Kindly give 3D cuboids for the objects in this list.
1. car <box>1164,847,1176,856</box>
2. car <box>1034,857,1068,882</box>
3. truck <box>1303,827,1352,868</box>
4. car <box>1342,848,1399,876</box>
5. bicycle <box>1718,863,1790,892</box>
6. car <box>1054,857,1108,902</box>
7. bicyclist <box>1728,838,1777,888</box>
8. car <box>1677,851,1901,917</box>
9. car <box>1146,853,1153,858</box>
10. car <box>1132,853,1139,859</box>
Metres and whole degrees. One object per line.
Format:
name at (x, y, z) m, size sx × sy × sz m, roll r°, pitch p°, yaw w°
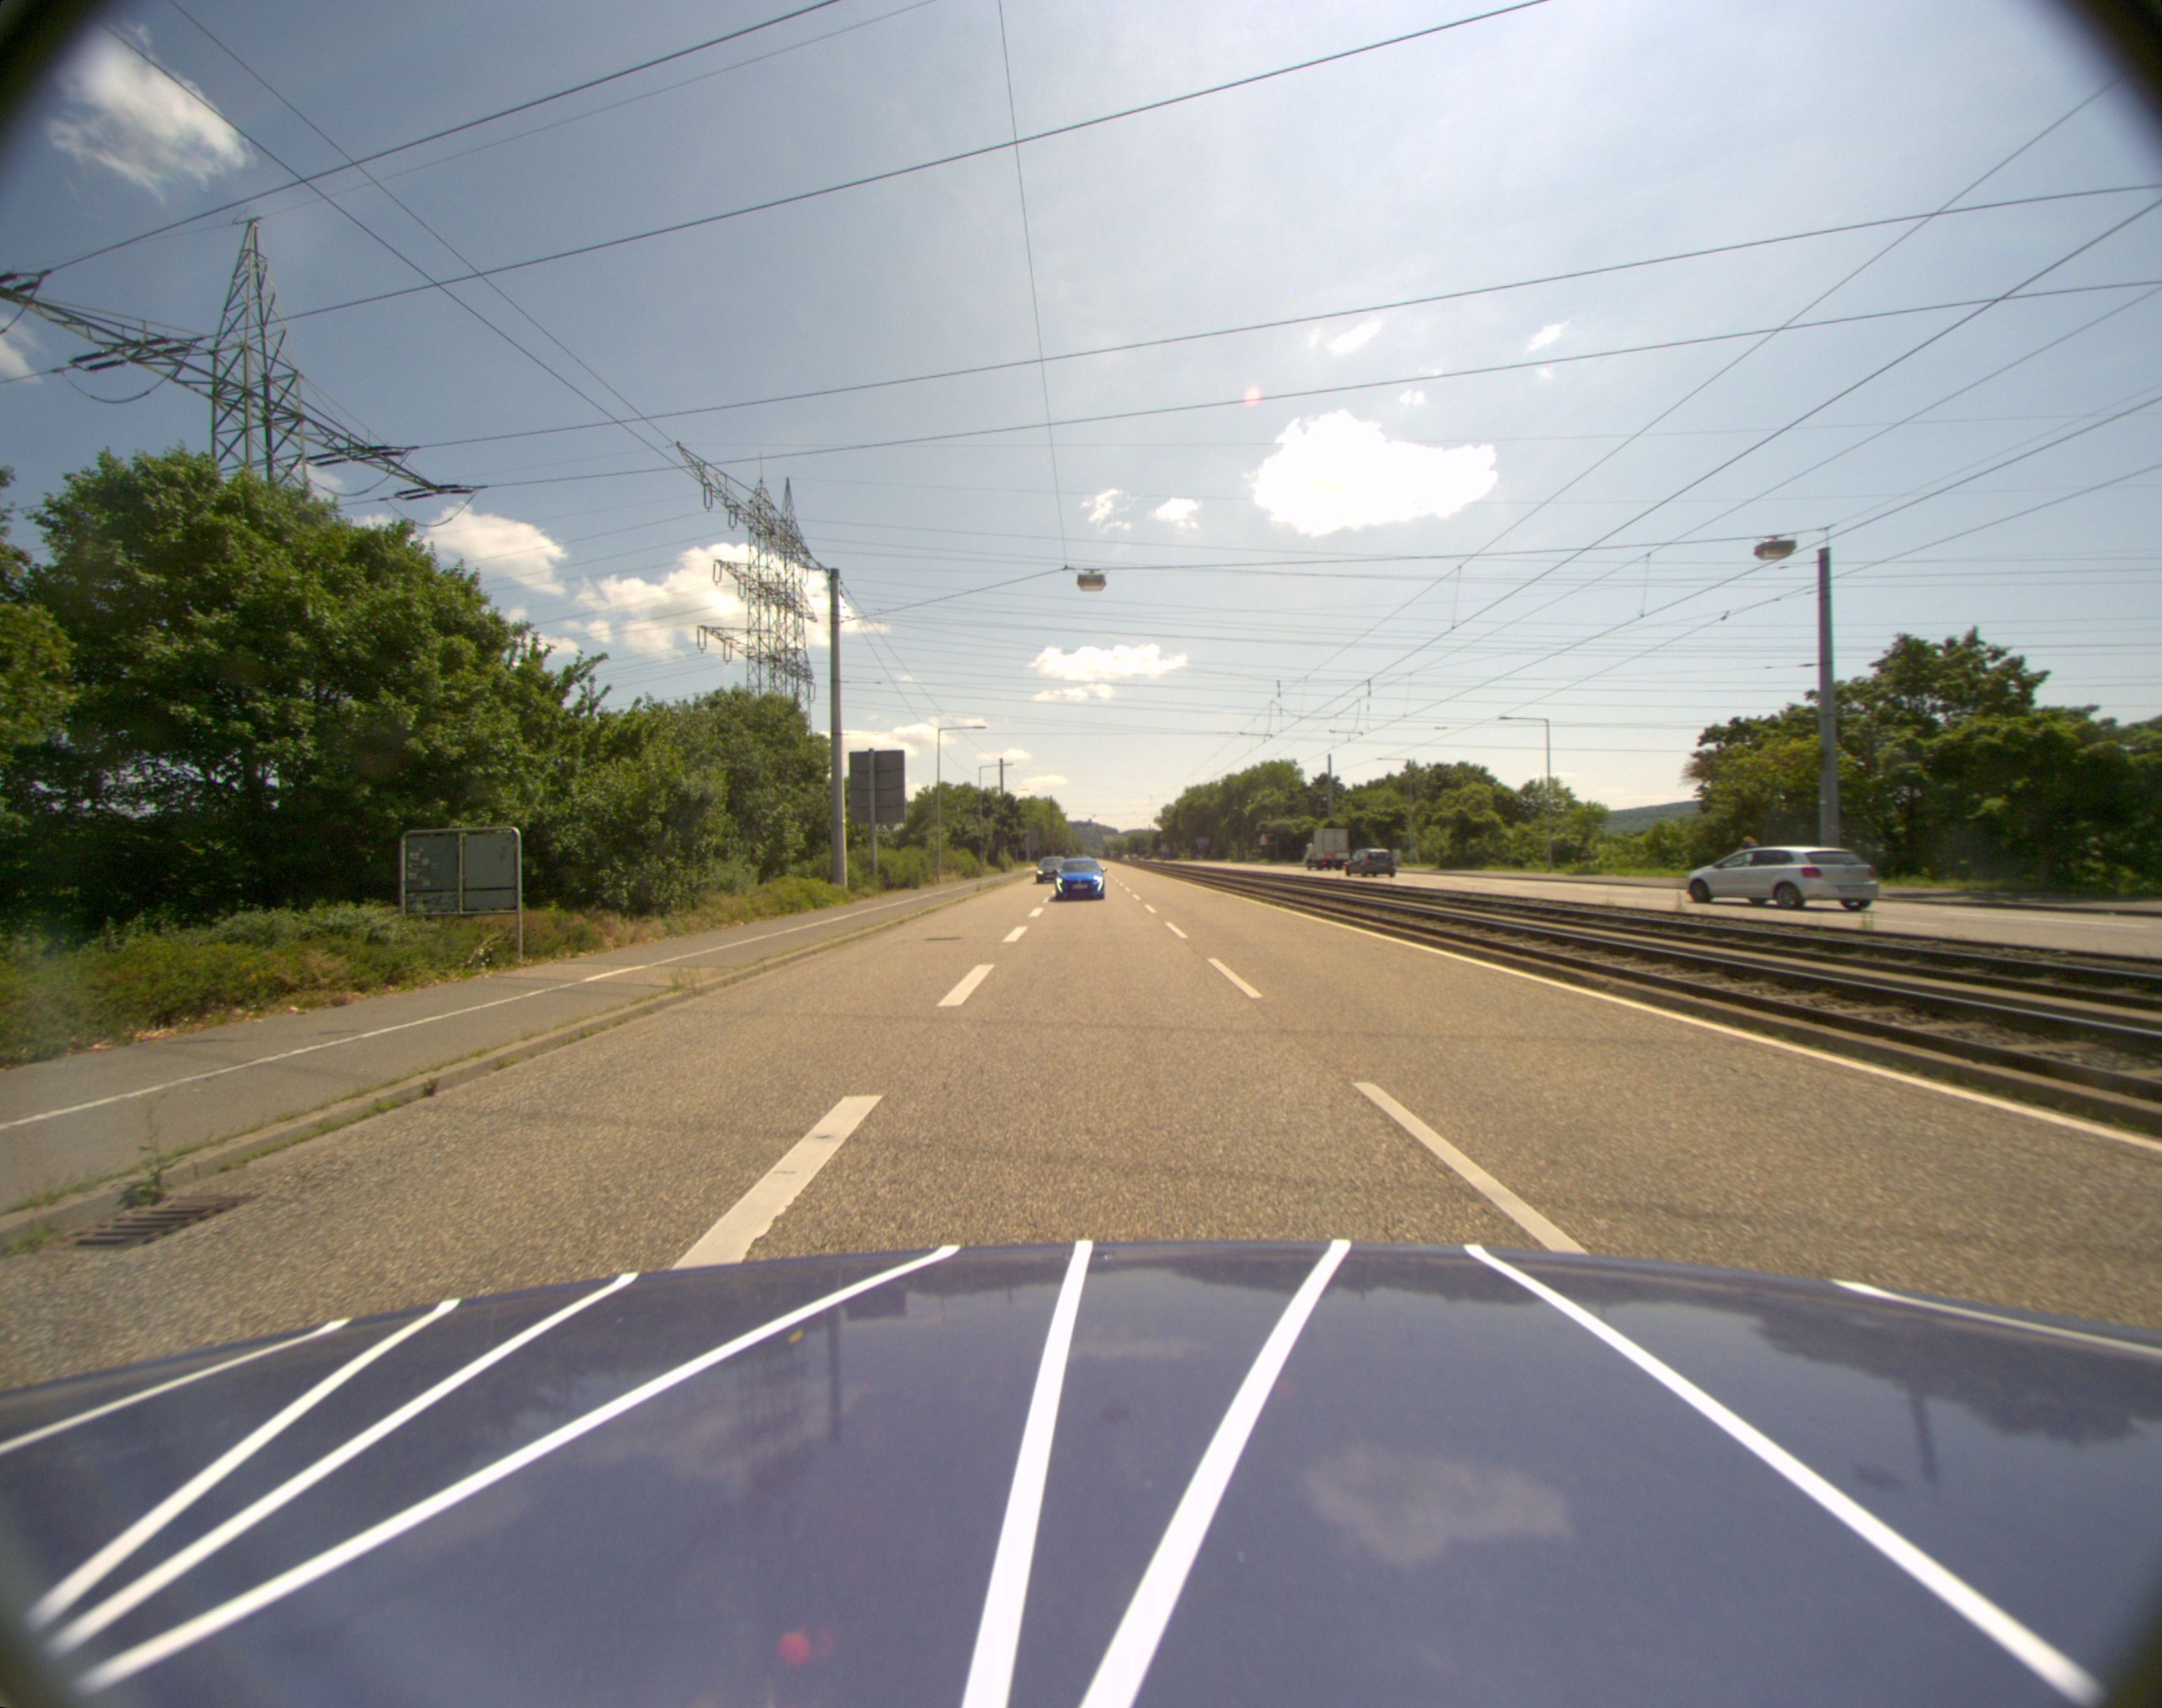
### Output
car at (18.726, -0.461, 160.325) m, size 1.862 × 1.916 × 5.008 m, roll 1°, pitch 0°, yaw 1°
car at (-1.765, 0.896, 45.779) m, size 1.771 × 1.422 × 4.000 m, roll -2°, pitch 0°, yaw 1°
truck at (20.372, -0.522, 63.080) m, size 2.255 × 3.218 × 6.042 m, roll -1°, pitch 0°, yaw 2°
car at (16.375, 0.450, 43.183) m, size 1.757 × 1.526 × 3.957 m, roll 0°, pitch 0°, yaw 0°
bicycle at (22.711, 0.779, 25.690) m, size 0.652 × 0.854 × 2.121 m, roll -3°, pitch 0°, yaw 5°
car at (0.036, 0.867, 27.947) m, size 1.771 × 1.463 × 4.467 m, roll -2°, pitch 0°, yaw 1°
bicyclist at (22.691, 0.295, 25.692) m, size 0.652 × 1.610 × 1.155 m, roll -3°, pitch 0°, yaw 4°
car at (16.817, 0.643, 18.383) m, size 1.640 × 1.413 × 4.127 m, roll 0°, pitch 0°, yaw 1°
car at (19.465, 0.451, 216.500) m, size 1.806 × 1.616 × 4.211 m, roll 0°, pitch 0°, yaw 0°
car at (15.510, 0.602, 215.386) m, size 1.806 × 1.616 × 4.494 m, roll 0°, pitch 0°, yaw 0°
